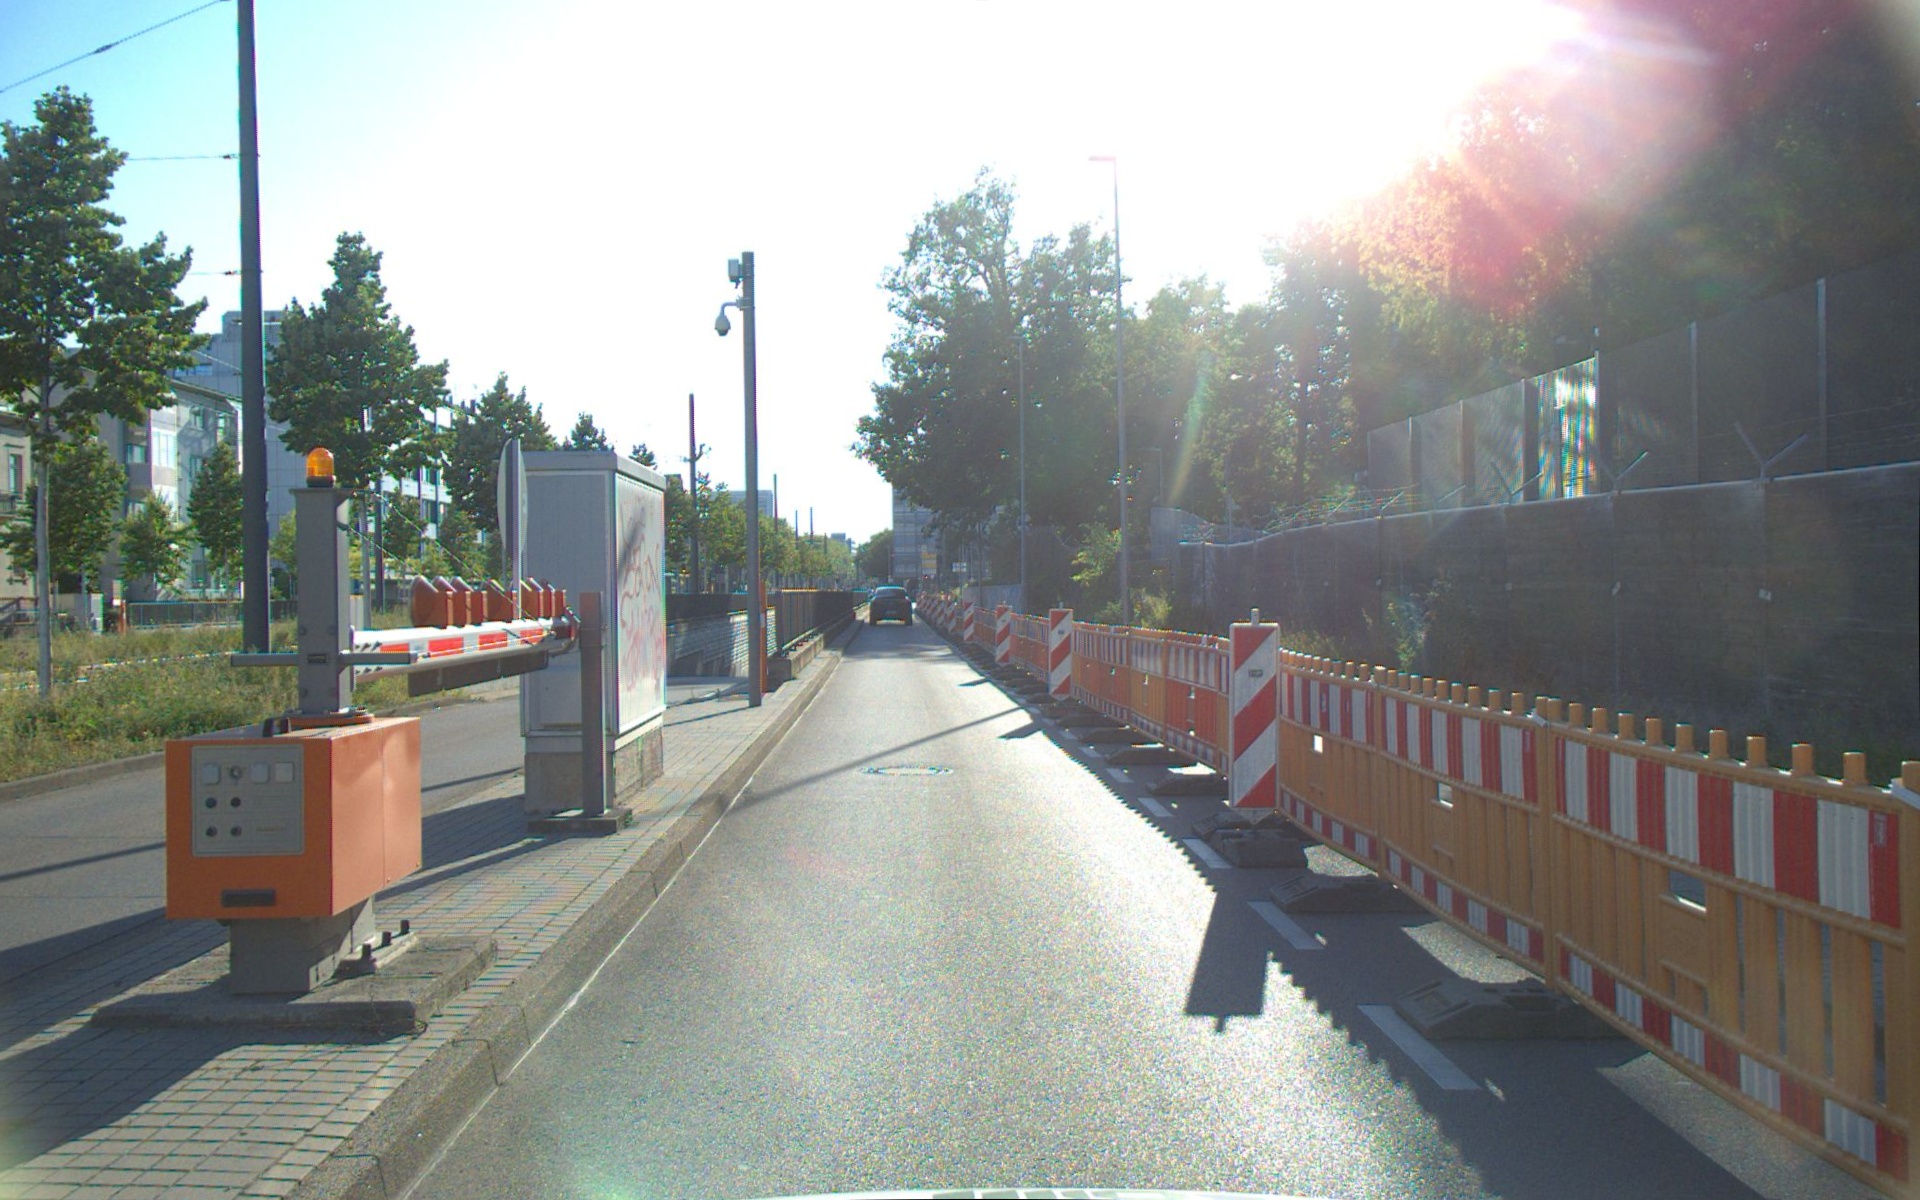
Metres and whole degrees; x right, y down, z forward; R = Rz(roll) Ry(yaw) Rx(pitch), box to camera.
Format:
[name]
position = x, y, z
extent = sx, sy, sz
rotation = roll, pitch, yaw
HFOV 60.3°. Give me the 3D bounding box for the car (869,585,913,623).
[car]
position = -3.175, 0.201, 76.768
extent = 1.965, 1.688, 3.998
rotation = 1, 0, -2
